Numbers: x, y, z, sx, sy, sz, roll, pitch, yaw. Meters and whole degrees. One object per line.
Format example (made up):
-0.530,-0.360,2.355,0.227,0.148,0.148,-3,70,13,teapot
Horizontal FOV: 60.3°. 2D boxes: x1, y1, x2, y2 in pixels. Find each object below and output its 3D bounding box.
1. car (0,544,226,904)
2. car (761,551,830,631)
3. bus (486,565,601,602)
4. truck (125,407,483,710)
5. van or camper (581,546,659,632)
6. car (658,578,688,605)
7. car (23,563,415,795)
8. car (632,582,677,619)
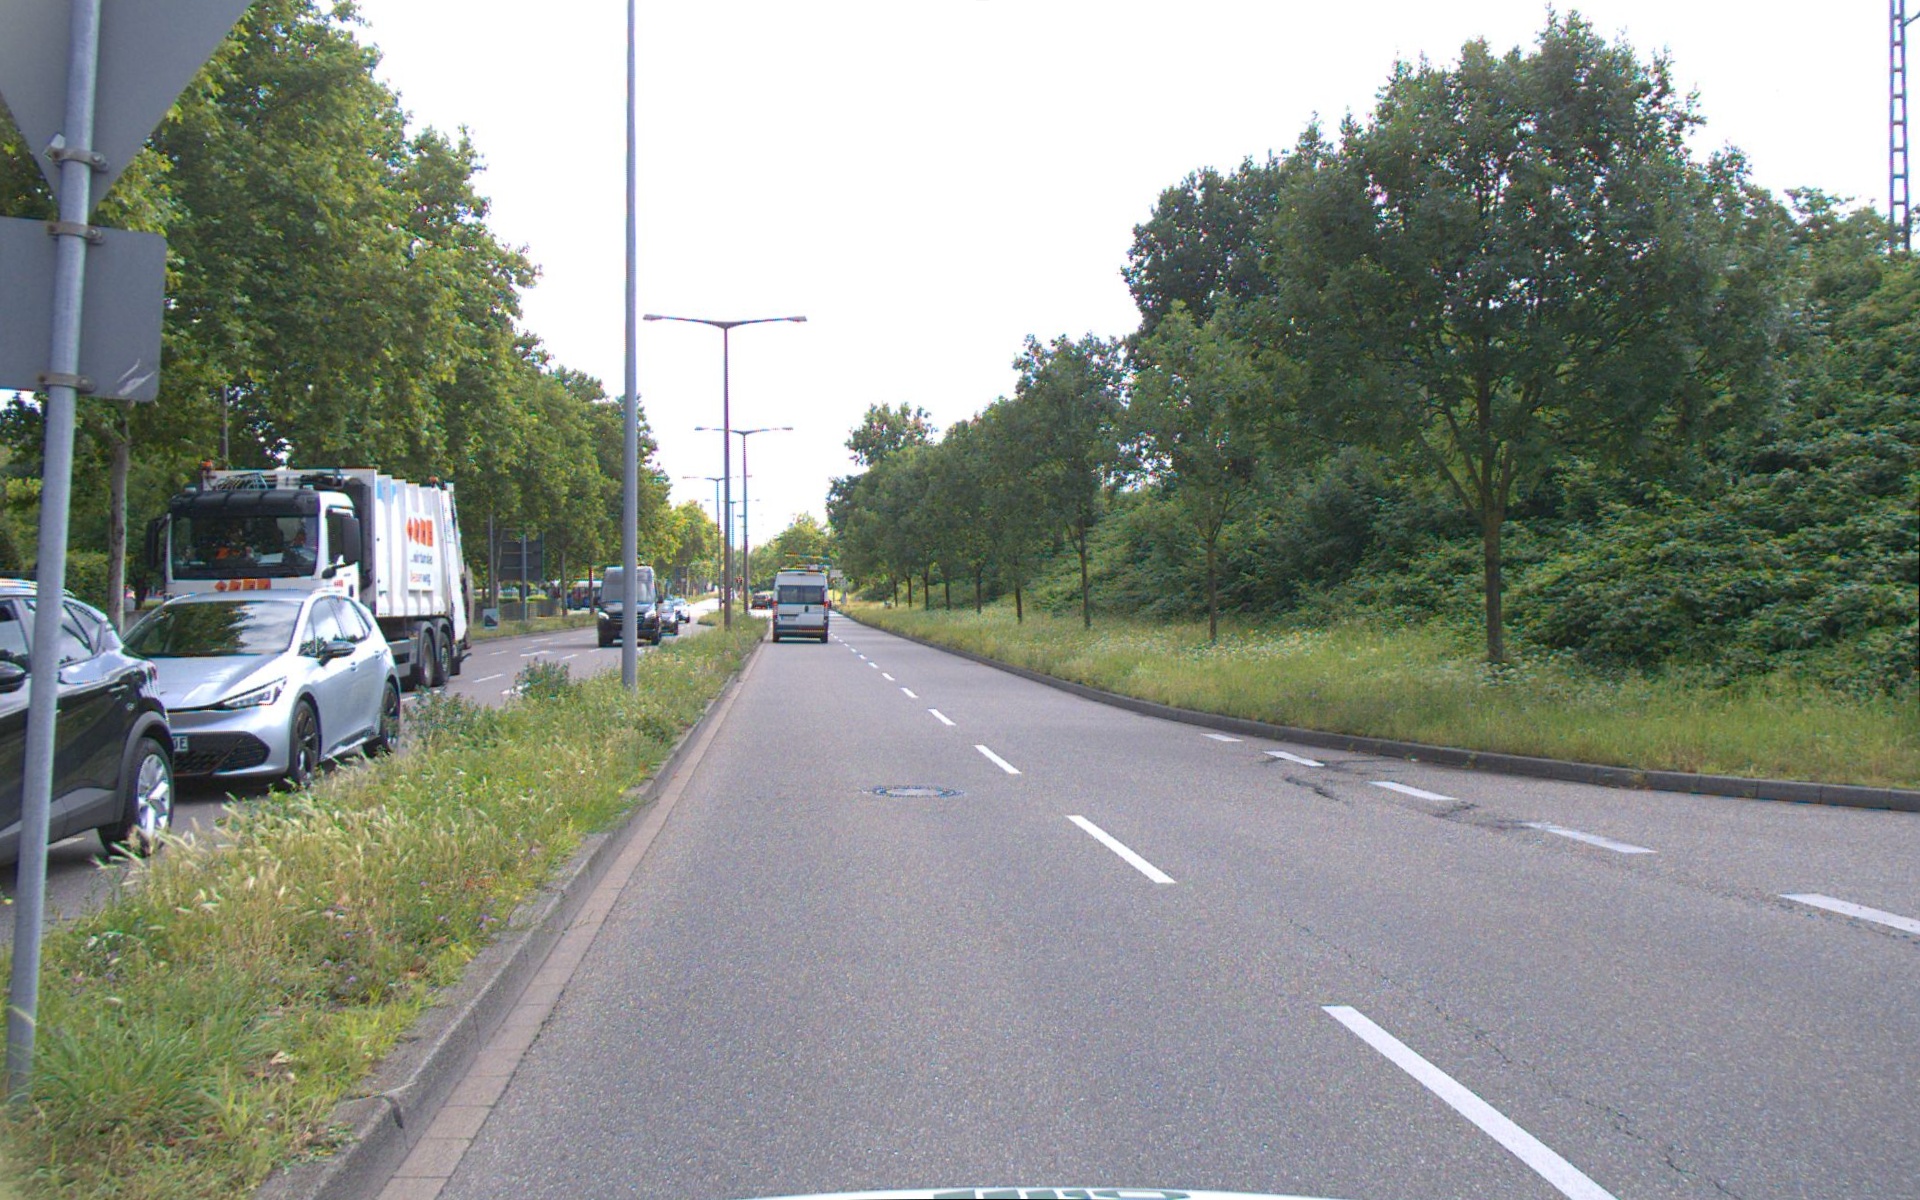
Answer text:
-5.214,0.572,7.975,1.674,1.615,4.358,-2,1,-5,car
-6.084,-0.389,60.609,2.157,2.773,4.921,1,1,-10,car
-42.715,-1.689,169.470,12.049,3.331,3.118,-2,0,24,bus
-10.220,-0.631,27.203,2.599,3.955,10.148,-2,1,-6,truck
-11.467,-0.367,56.167,2.065,2.706,6.705,-2,0,-8,van or camper
-18.828,-0.565,108.627,1.780,1.668,4.343,-3,1,-8,car
-6.005,0.559,13.990,1.711,1.579,4.228,-3,0,-6,car
-13.081,0.027,70.941,1.662,1.489,3.934,-2,0,-8,car
